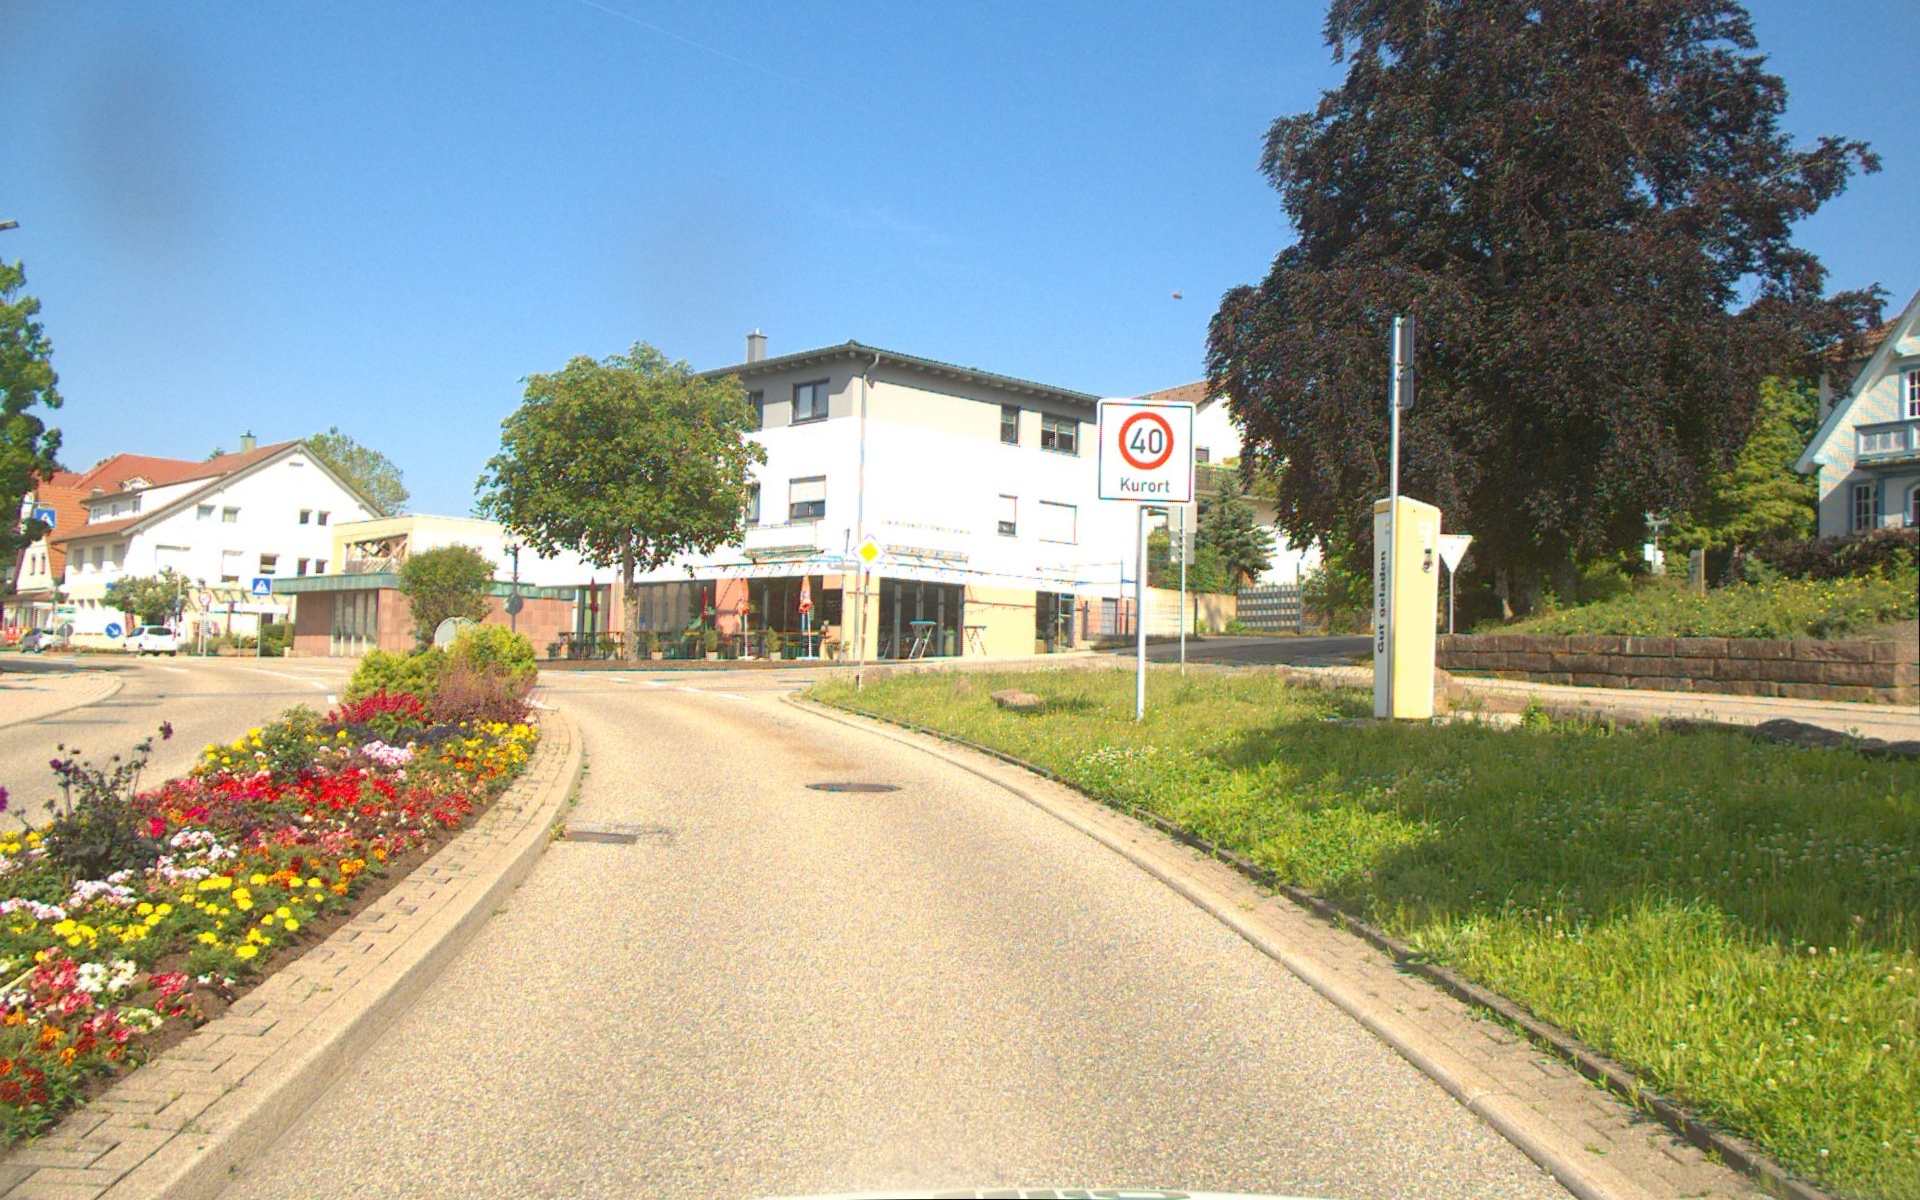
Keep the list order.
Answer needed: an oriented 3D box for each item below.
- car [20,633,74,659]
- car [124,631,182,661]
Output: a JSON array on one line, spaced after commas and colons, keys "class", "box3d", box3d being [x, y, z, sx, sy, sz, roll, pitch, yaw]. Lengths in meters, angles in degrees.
[{"class": "car", "box3d": [-52.439, 2.663, 94.950, 3.867, 1.445, 1.630, -2, -1, 44]}, {"class": "car", "box3d": [-39.767, 2.253, 81.475, 1.750, 1.448, 3.580, 0, -1, -40]}]
